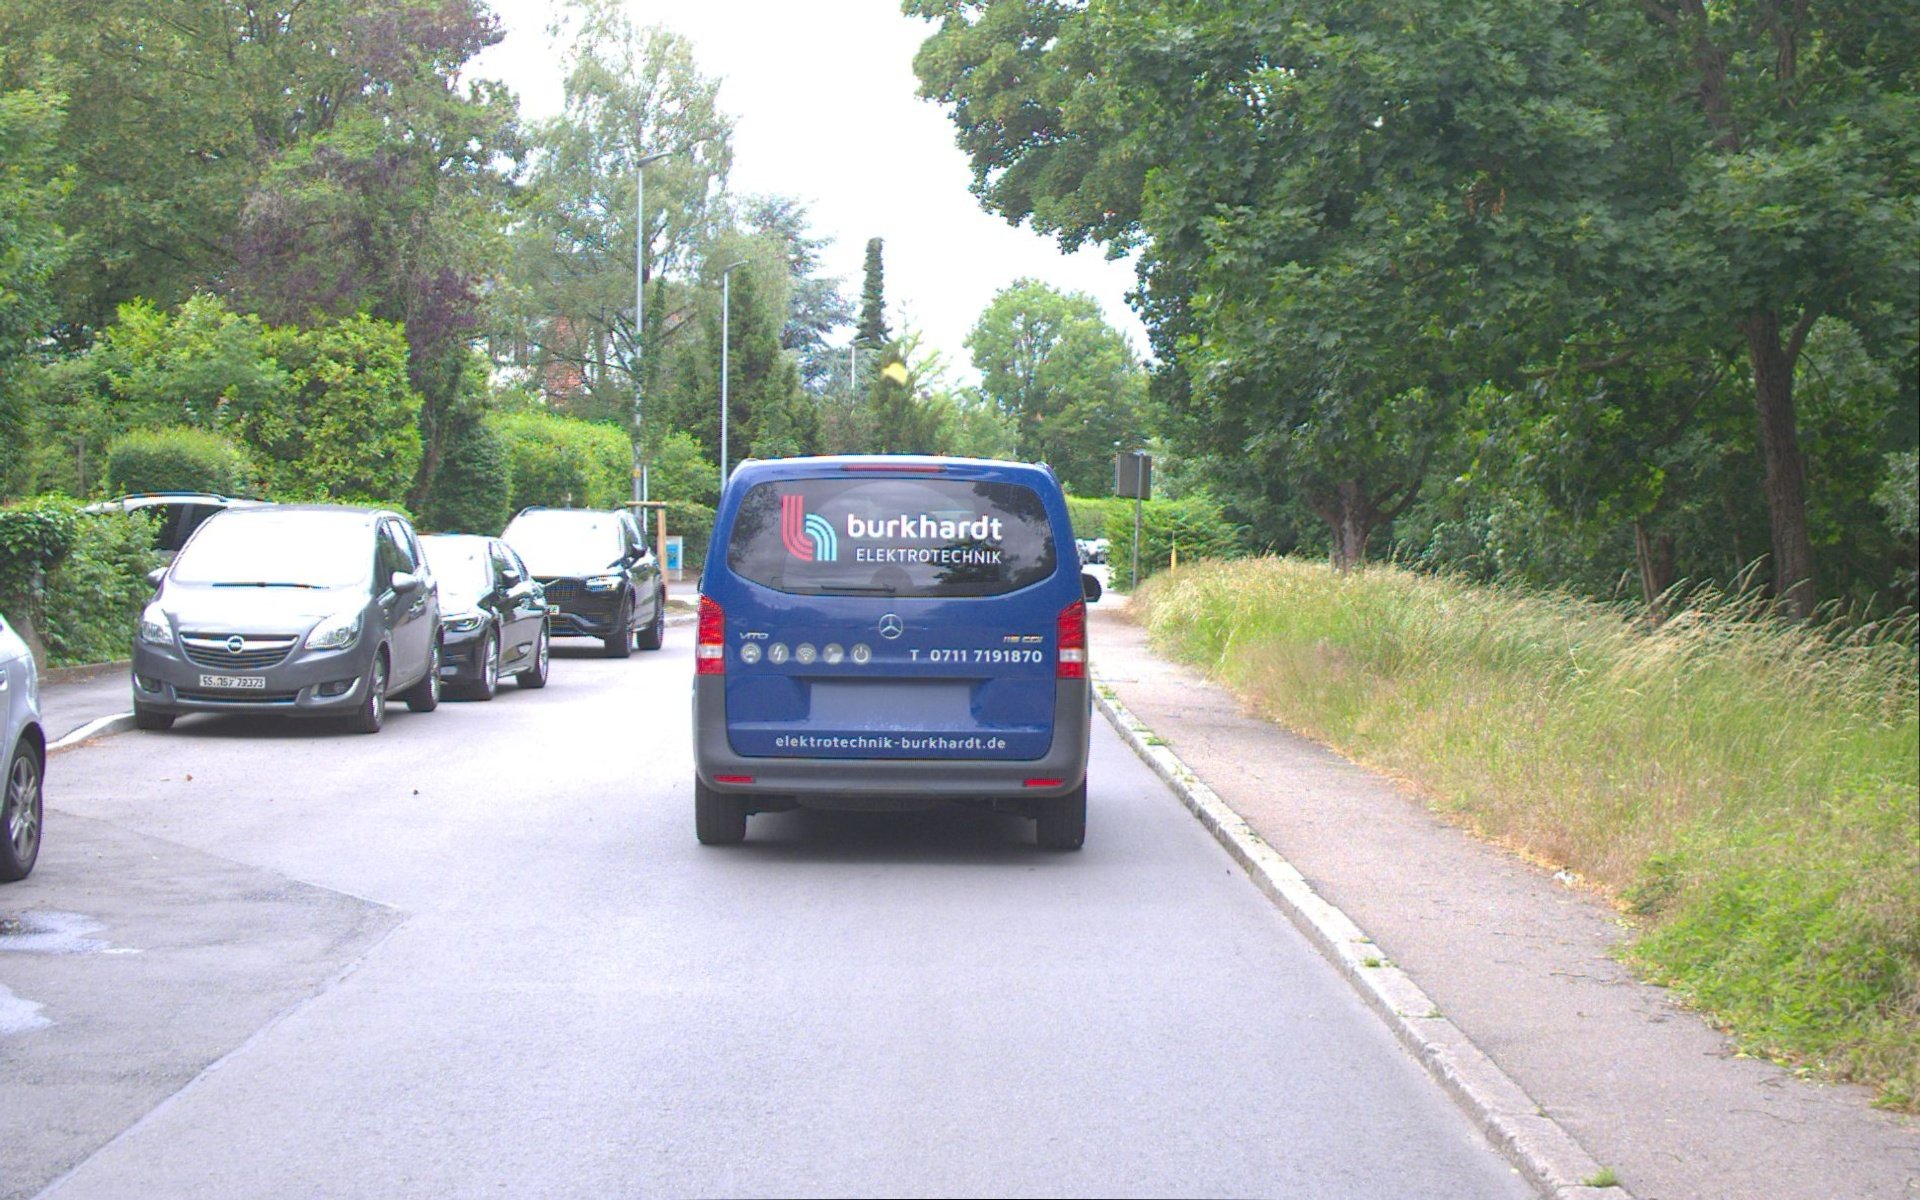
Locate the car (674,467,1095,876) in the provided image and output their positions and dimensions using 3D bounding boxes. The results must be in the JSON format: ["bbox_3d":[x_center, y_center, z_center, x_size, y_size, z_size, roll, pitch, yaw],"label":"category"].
[{"bbox_3d":[-0.446,0.258,17.471,1.888,1.837,4.001,0,2,-3],"label":"car"}]

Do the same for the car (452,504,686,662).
[{"bbox_3d":[-4.669,-0.243,41.808,1.974,1.731,5.189,2,1,3],"label":"car"}]

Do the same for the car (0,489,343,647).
[{"bbox_3d":[-9.112,-0.379,38.983,3.694,1.632,1.827,2,1,14],"label":"car"}]

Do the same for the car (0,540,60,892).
[{"bbox_3d":[-4.737,0.497,13.003,1.623,1.445,4.094,0,1,-1],"label":"car"}]

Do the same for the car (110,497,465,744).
[{"bbox_3d":[-4.895,0.094,25.637,1.731,1.626,4.569,2,1,0],"label":"car"}]

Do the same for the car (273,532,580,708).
[{"bbox_3d":[-4.716,0.122,31.087,1.754,1.408,4.898,2,1,3],"label":"car"}]

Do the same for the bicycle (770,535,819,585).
[{"bbox_3d":[-4.328,-1.045,90.194,0.906,1.247,2.915,3,1,3],"label":"bicycle"}]
